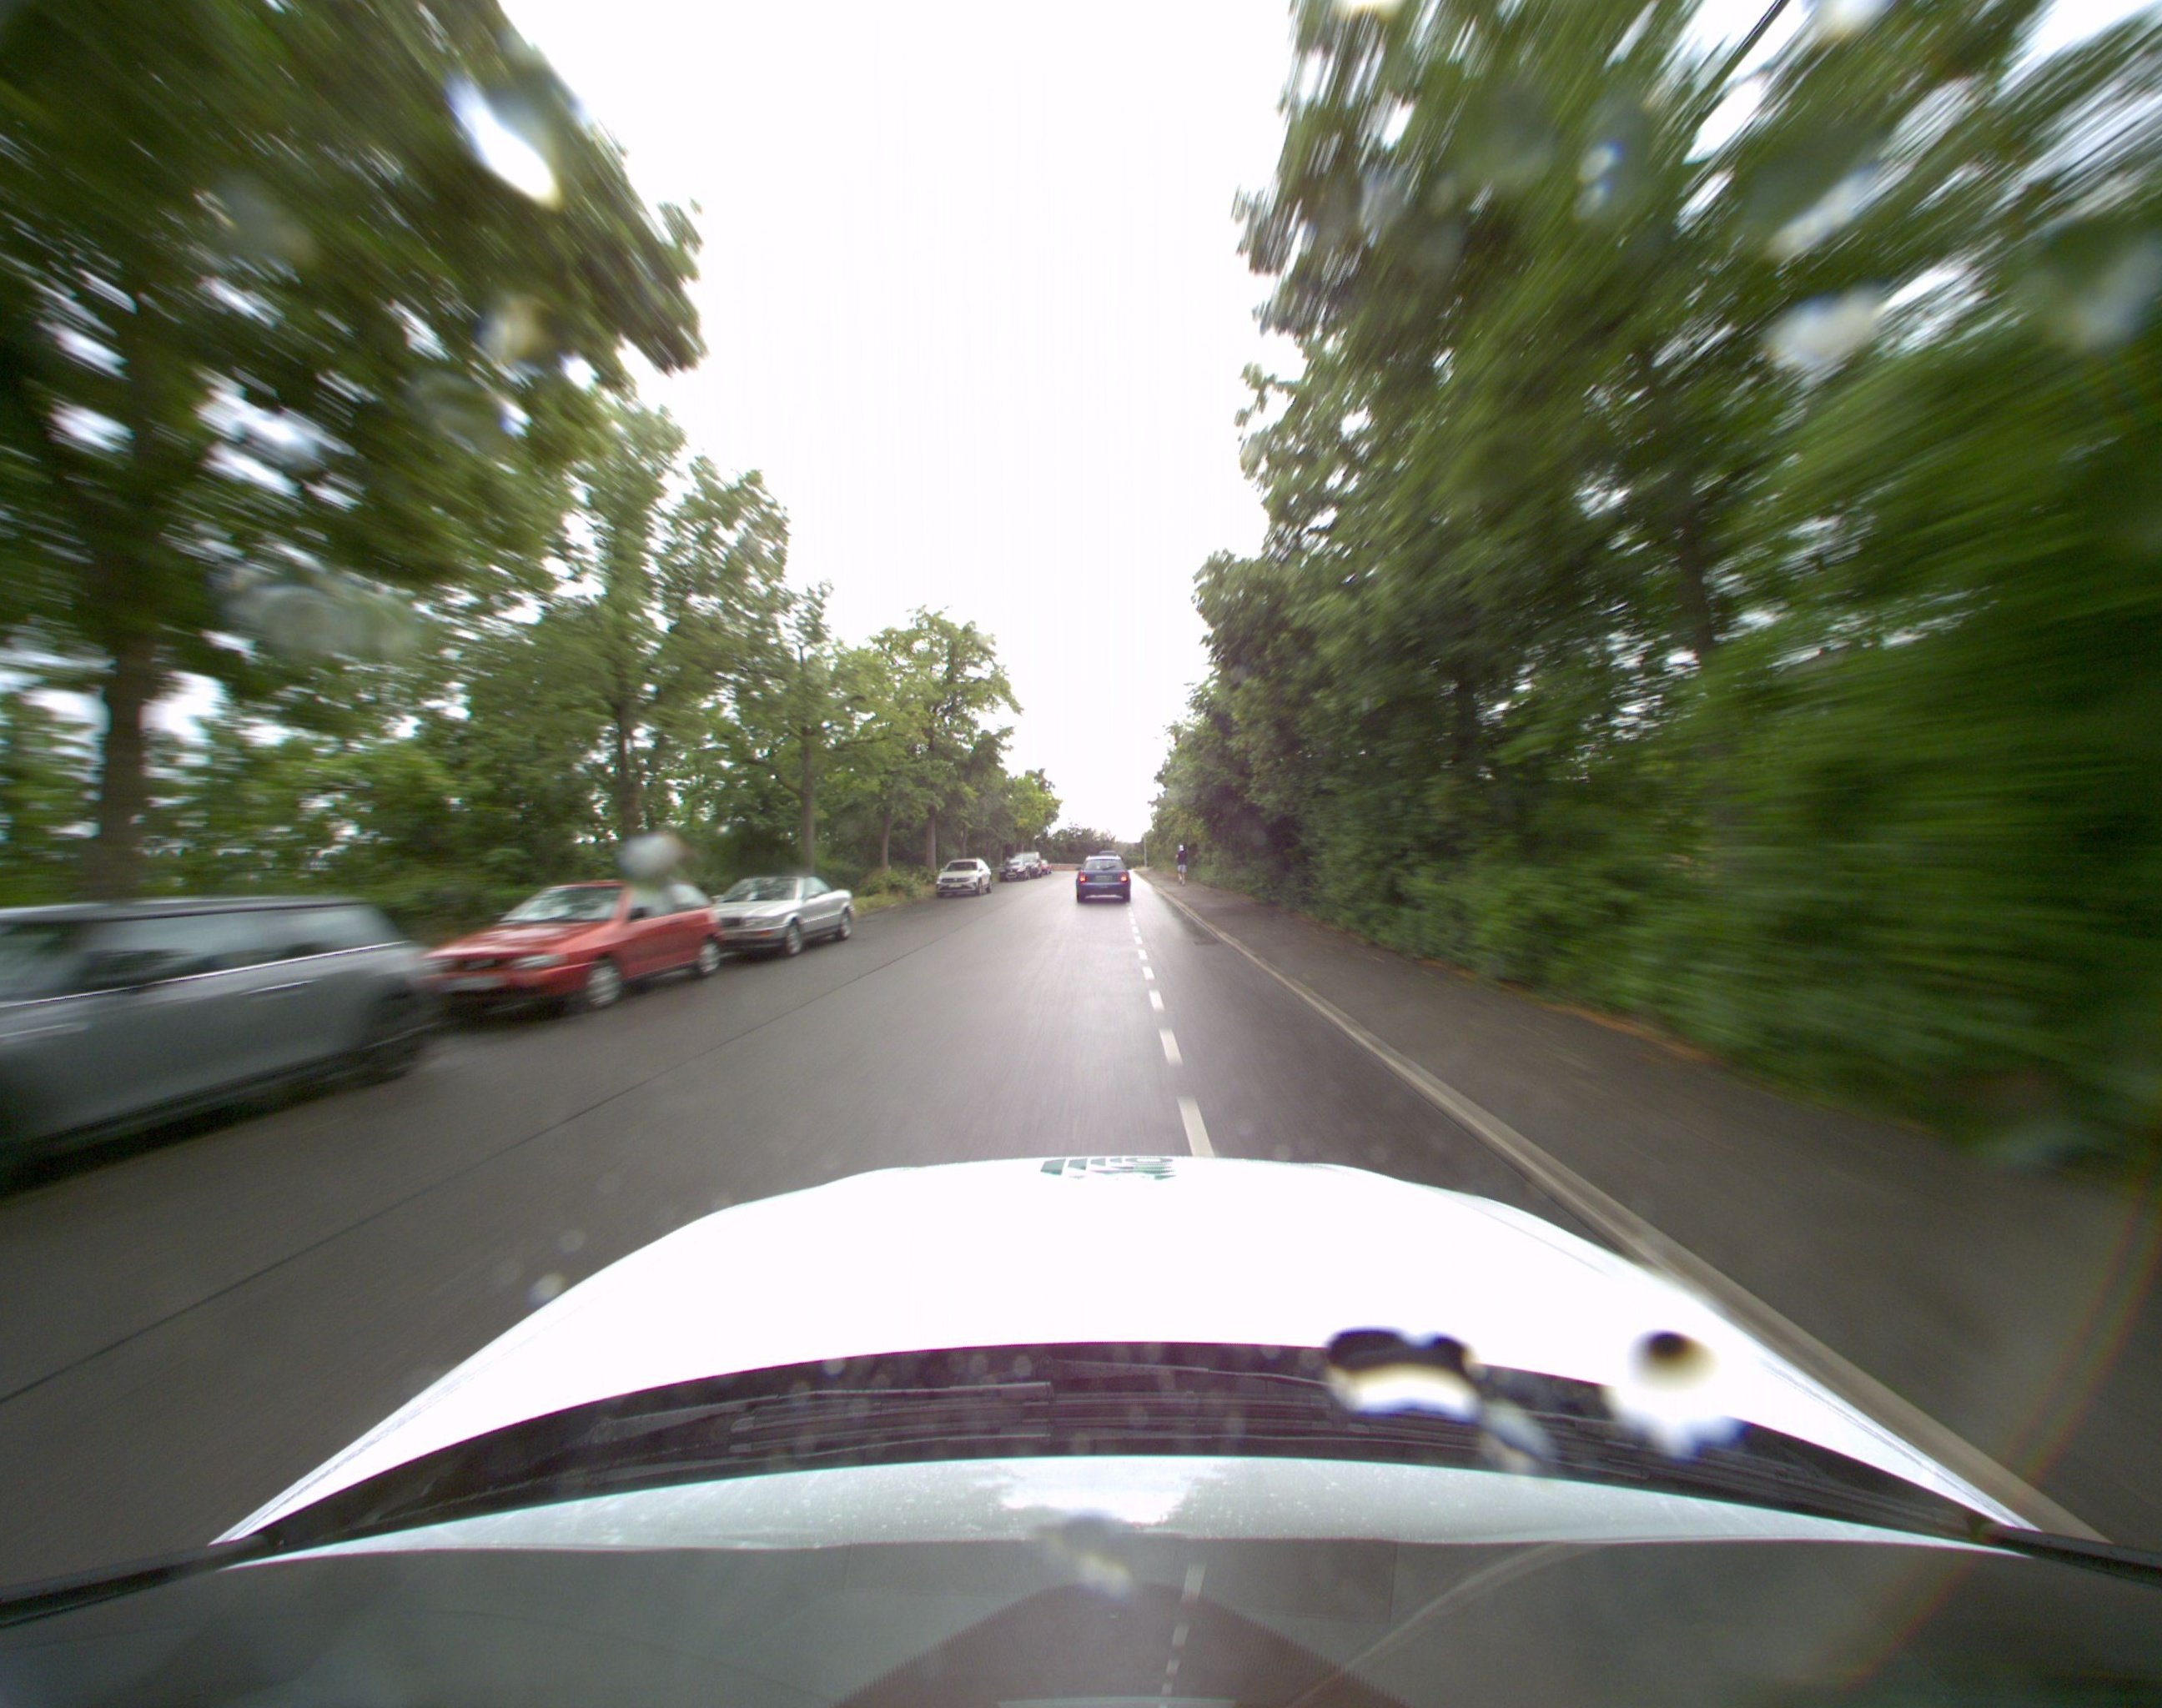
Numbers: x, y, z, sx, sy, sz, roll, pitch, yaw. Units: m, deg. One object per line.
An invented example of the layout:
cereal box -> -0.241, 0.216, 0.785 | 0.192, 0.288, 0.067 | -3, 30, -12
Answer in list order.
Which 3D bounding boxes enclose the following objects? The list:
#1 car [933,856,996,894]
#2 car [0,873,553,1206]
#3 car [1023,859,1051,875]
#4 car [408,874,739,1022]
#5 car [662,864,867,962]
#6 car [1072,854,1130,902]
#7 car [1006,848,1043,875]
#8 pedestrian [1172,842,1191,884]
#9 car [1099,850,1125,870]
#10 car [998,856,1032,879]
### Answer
car -> -4.775, 0.823, 34.000 | 1.681, 1.437, 4.260 | -2, -1, 4
car -> -6.020, 0.957, 5.359 | 1.988, 1.405, 4.712 | -3, 0, -1
car -> -3.806, 1.082, 70.801 | 1.781, 1.297, 4.330 | -2, -1, 4
car -> -5.924, 0.988, 10.158 | 1.590, 1.362, 4.000 | -2, -1, 0
car -> -5.397, 0.930, 14.583 | 1.748, 1.402, 4.421 | -2, -1, 2
car -> 0.622, 0.735, 27.027 | 1.742, 1.407, 3.999 | -2, 0, 0
car -> -4.091, 0.579, 59.847 | 2.075, 1.819, 5.384 | -2, -1, 3
pedestrian -> 4.587, 0.394, 37.155 | 0.713, 1.835, 1.022 | -3, 0, 4
car -> 2.405, 0.440, 62.221 | 1.882, 1.389, 4.004 | -2, -1, 4
car -> -4.331, 0.868, 53.785 | 1.791, 1.437, 4.257 | -2, -1, 1
